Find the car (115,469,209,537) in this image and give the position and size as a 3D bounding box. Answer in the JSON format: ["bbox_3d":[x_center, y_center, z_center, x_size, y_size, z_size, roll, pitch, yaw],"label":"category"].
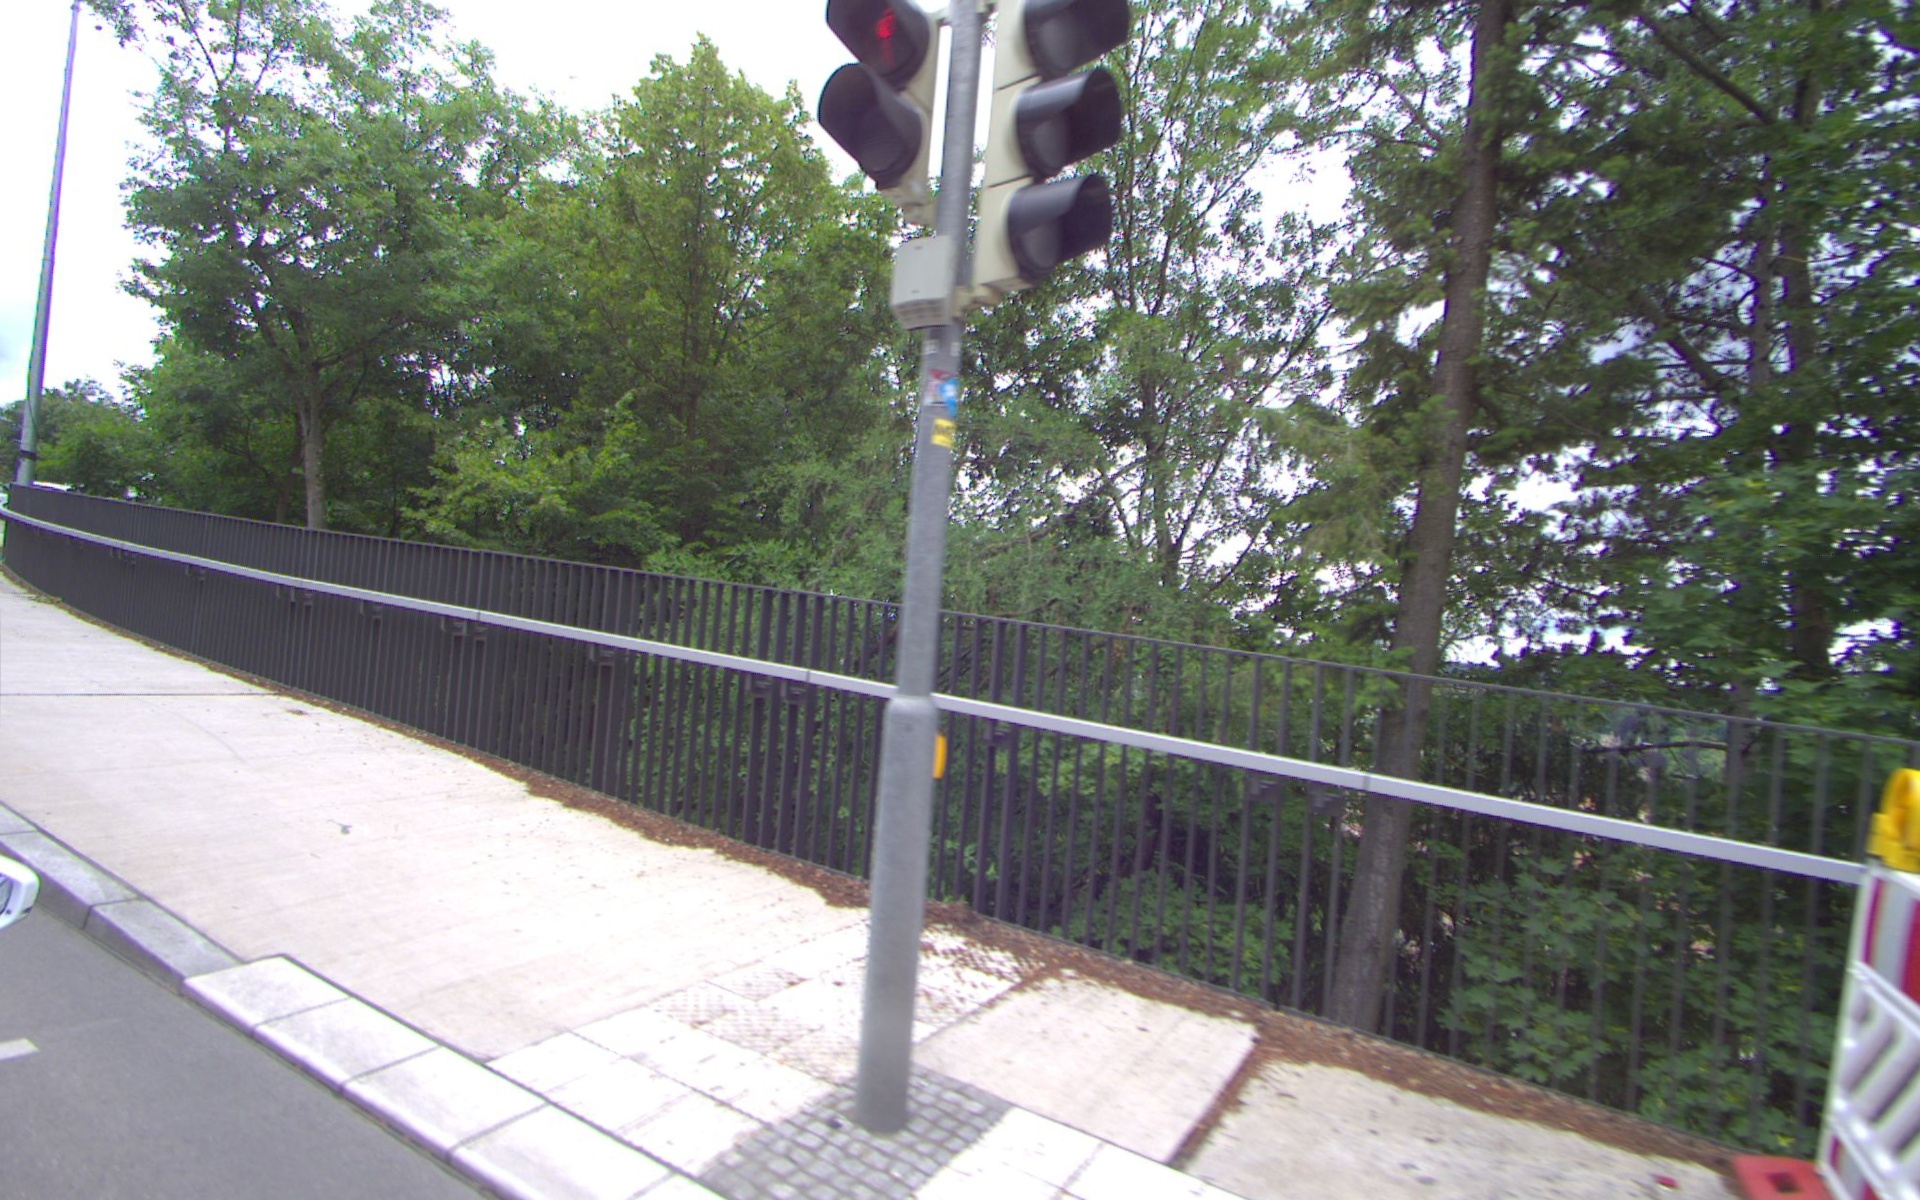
[{"bbox_3d":[-35.172,-4.197,44.501,2.065,2.556,5.803,5,1,-28],"label":"car"}]

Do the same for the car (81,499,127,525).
[{"bbox_3d":[-61.737,-6.384,72.565,3.940,1.481,1.641,6,-2,38],"label":"car"}]

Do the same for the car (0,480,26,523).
[{"bbox_3d":[-39.717,-4.171,40.609,1.893,1.591,3.971,10,-3,-30],"label":"car"}]

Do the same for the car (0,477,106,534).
[{"bbox_3d":[-35.955,-3.690,39.973,1.978,1.603,3.976,9,-3,-26],"label":"car"}]
